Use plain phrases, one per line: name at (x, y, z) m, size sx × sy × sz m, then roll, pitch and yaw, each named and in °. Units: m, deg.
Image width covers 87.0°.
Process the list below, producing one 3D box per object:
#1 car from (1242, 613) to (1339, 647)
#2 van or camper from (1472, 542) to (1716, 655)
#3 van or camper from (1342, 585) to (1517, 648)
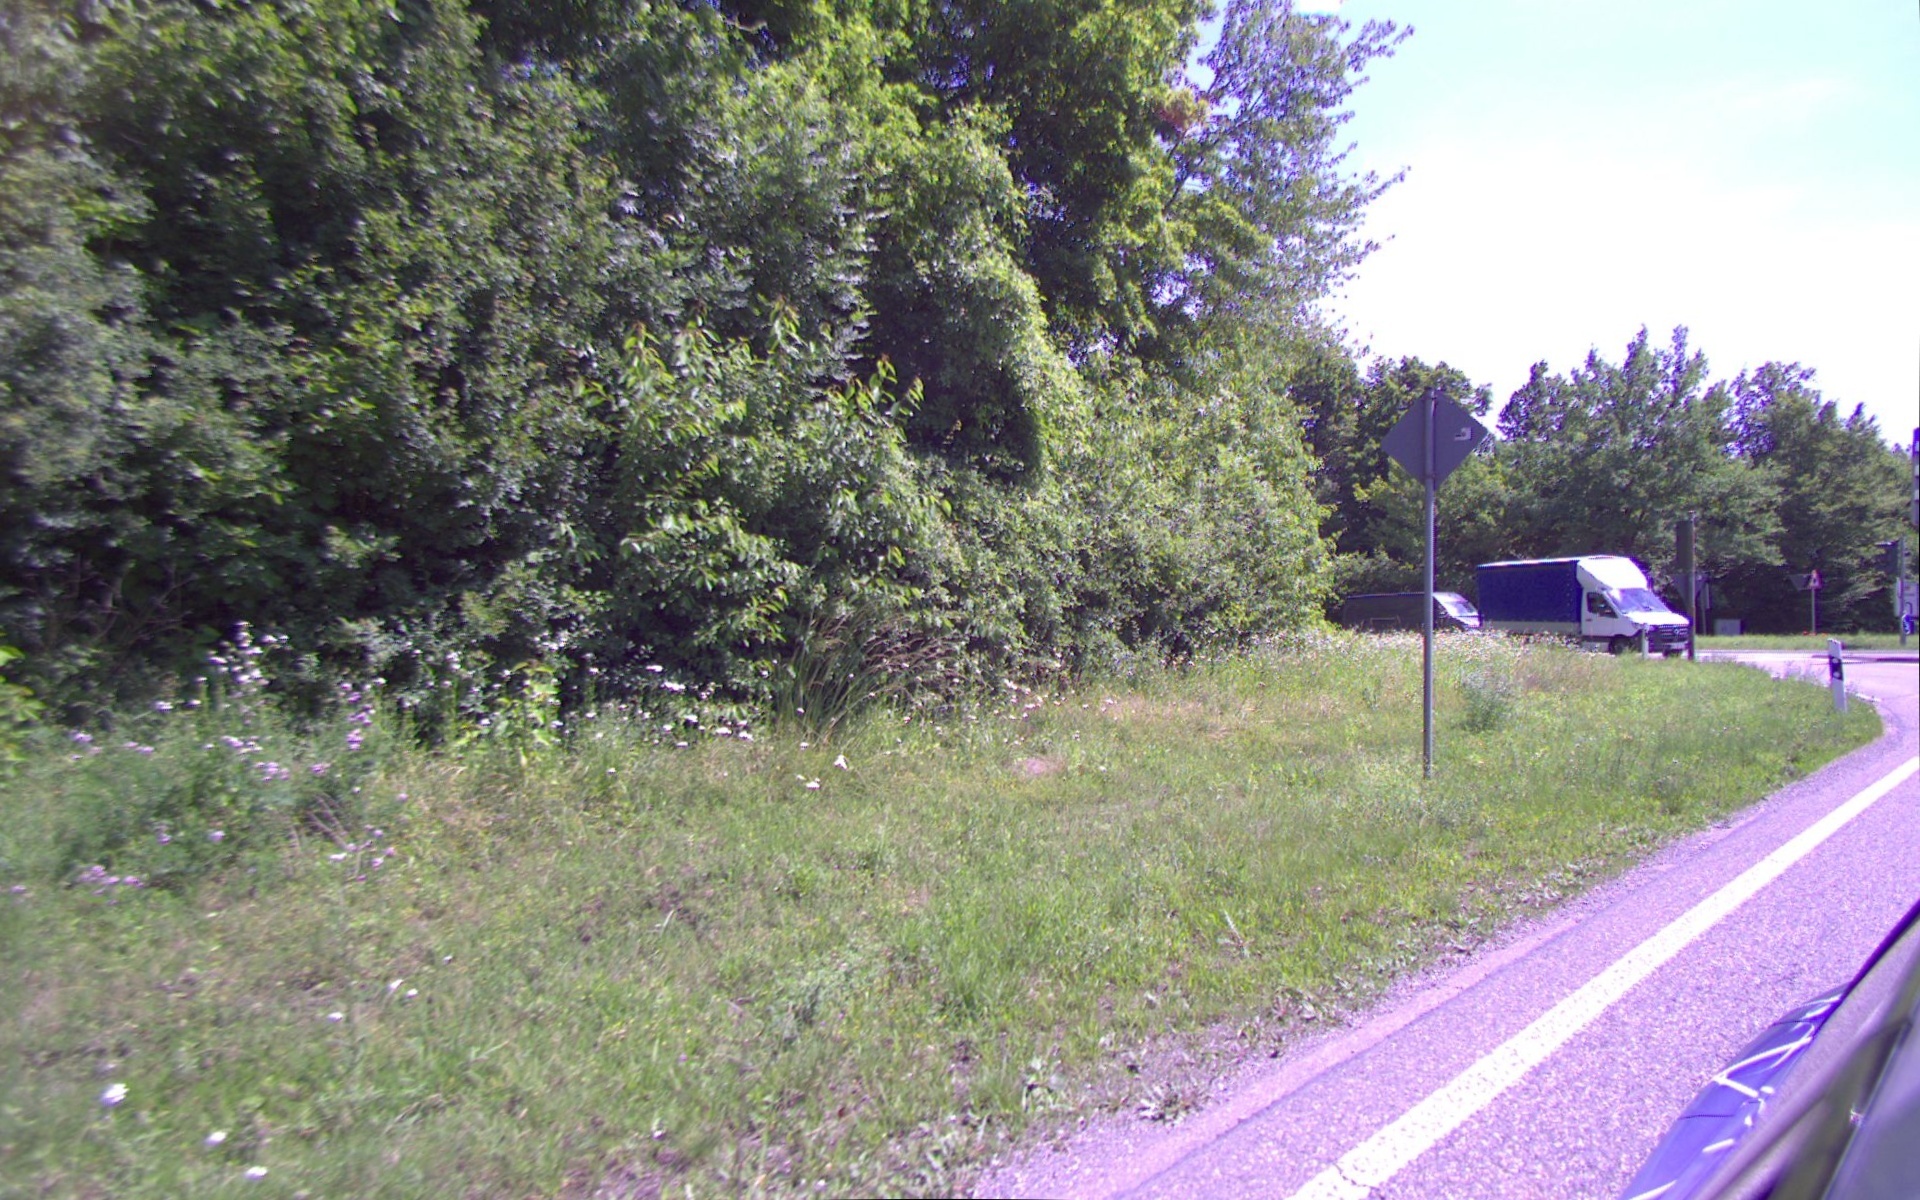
car at (17.010, 1.506, 52.375) m, size 1.811 × 1.628 × 5.130 m, roll -1°, pitch -1°, yaw -24°
van or camper at (20.143, -0.003, 32.785) m, size 2.060 × 3.253 × 7.266 m, roll -1°, pitch -1°, yaw -13°
van or camper at (20.330, 0.784, 44.359) m, size 2.359 × 2.509 × 7.246 m, roll 1°, pitch -2°, yaw -23°
